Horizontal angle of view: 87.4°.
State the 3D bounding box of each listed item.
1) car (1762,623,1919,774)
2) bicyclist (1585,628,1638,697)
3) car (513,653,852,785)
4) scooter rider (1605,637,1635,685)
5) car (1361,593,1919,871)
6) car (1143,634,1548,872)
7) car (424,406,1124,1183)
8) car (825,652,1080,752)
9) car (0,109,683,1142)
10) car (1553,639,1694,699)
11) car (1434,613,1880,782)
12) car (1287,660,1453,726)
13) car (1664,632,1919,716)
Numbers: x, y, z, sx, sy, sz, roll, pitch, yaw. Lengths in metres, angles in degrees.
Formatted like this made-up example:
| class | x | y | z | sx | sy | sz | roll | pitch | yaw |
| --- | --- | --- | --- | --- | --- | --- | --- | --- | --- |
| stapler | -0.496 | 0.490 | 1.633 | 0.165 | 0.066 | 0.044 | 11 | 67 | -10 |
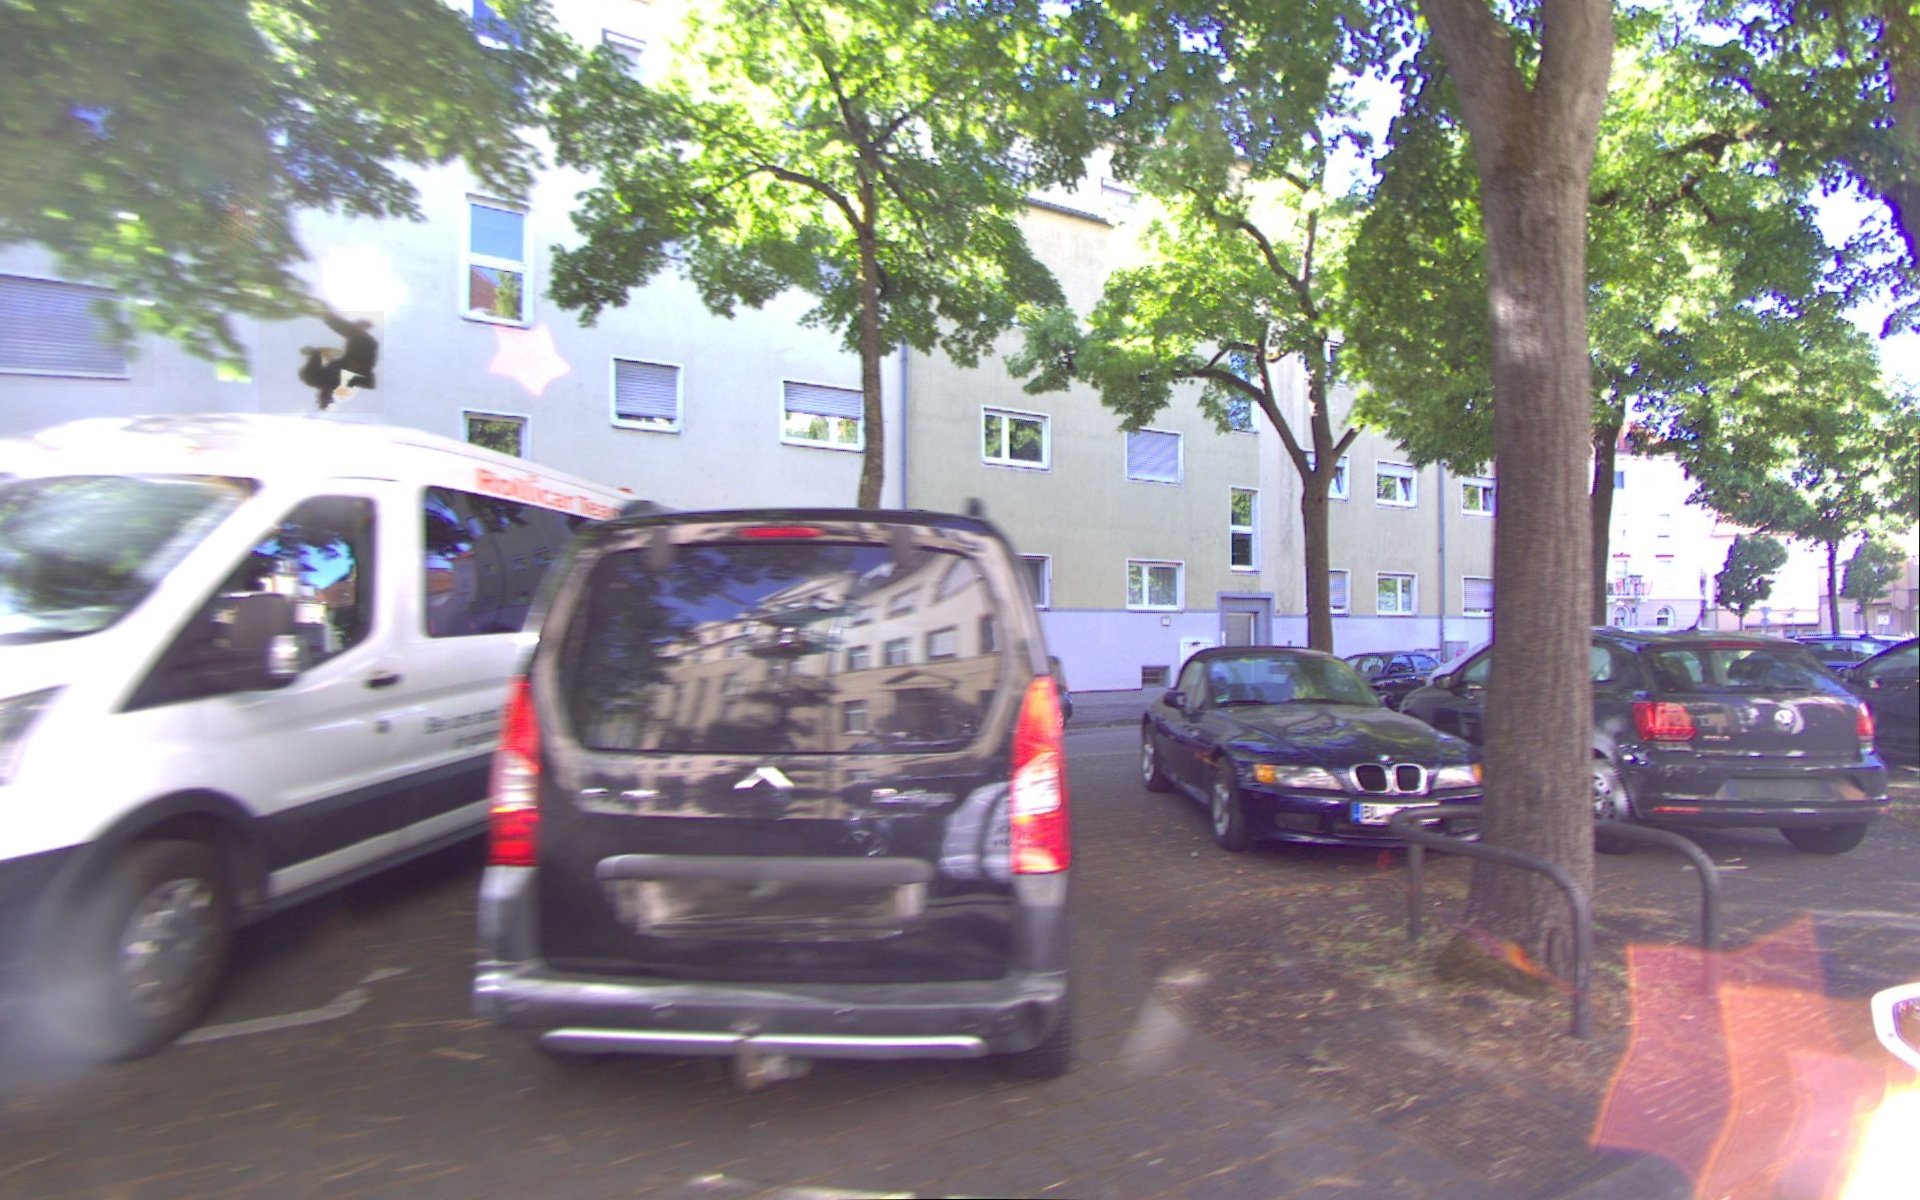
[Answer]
| class | x | y | z | sx | sy | sz | roll | pitch | yaw |
| --- | --- | --- | --- | --- | --- | --- | --- | --- | --- |
| car | 10.470 | 1.004 | 10.263 | 1.829 | 1.485 | 4.105 | 1 | -1 | 11 |
| bicyclist | 15.910 | 1.510 | 24.529 | 0.917 | 1.643 | 0.712 | 1 | -2 | -29 |
| car | -4.029 | 1.628 | 14.813 | 4.538 | 1.537 | 1.763 | 1 | 0 | -31 |
| scooter rider | 21.365 | 1.978 | 32.529 | 0.595 | 1.549 | 0.526 | -1 | -2 | 8 |
| car | 4.737 | 0.826 | 7.743 | 1.605 | 1.602 | 3.737 | 0 | -2 | -4 |
| car | 2.494 | 0.922 | 7.432 | 1.625 | 1.264 | 3.568 | 1 | -1 | 0 |
| car | -0.335 | 0.549 | 4.482 | 1.806 | 1.913 | 3.854 | -1 | -2 | 5 |
| car | -0.088 | 1.669 | 17.306 | 4.100 | 1.514 | 1.764 | 1 | -4 | -33 |
| car | -3.618 | 0.198 | 5.388 | 2.406 | 2.657 | 6.088 | 1 | -3 | 1 |
| car | 18.817 | 1.903 | 28.470 | 3.953 | 1.545 | 1.770 | 1 | -1 | -30 |
| car | 7.933 | 0.988 | 11.978 | 1.804 | 1.575 | 4.138 | 1 | 0 | -17 |
| car | 9.257 | 2.059 | 22.638 | 3.598 | 1.338 | 1.578 | 1 | -4 | -31 |
| car | 16.491 | 1.434 | 20.019 | 1.618 | 1.485 | 3.787 | 0 | -3 | -18 |
